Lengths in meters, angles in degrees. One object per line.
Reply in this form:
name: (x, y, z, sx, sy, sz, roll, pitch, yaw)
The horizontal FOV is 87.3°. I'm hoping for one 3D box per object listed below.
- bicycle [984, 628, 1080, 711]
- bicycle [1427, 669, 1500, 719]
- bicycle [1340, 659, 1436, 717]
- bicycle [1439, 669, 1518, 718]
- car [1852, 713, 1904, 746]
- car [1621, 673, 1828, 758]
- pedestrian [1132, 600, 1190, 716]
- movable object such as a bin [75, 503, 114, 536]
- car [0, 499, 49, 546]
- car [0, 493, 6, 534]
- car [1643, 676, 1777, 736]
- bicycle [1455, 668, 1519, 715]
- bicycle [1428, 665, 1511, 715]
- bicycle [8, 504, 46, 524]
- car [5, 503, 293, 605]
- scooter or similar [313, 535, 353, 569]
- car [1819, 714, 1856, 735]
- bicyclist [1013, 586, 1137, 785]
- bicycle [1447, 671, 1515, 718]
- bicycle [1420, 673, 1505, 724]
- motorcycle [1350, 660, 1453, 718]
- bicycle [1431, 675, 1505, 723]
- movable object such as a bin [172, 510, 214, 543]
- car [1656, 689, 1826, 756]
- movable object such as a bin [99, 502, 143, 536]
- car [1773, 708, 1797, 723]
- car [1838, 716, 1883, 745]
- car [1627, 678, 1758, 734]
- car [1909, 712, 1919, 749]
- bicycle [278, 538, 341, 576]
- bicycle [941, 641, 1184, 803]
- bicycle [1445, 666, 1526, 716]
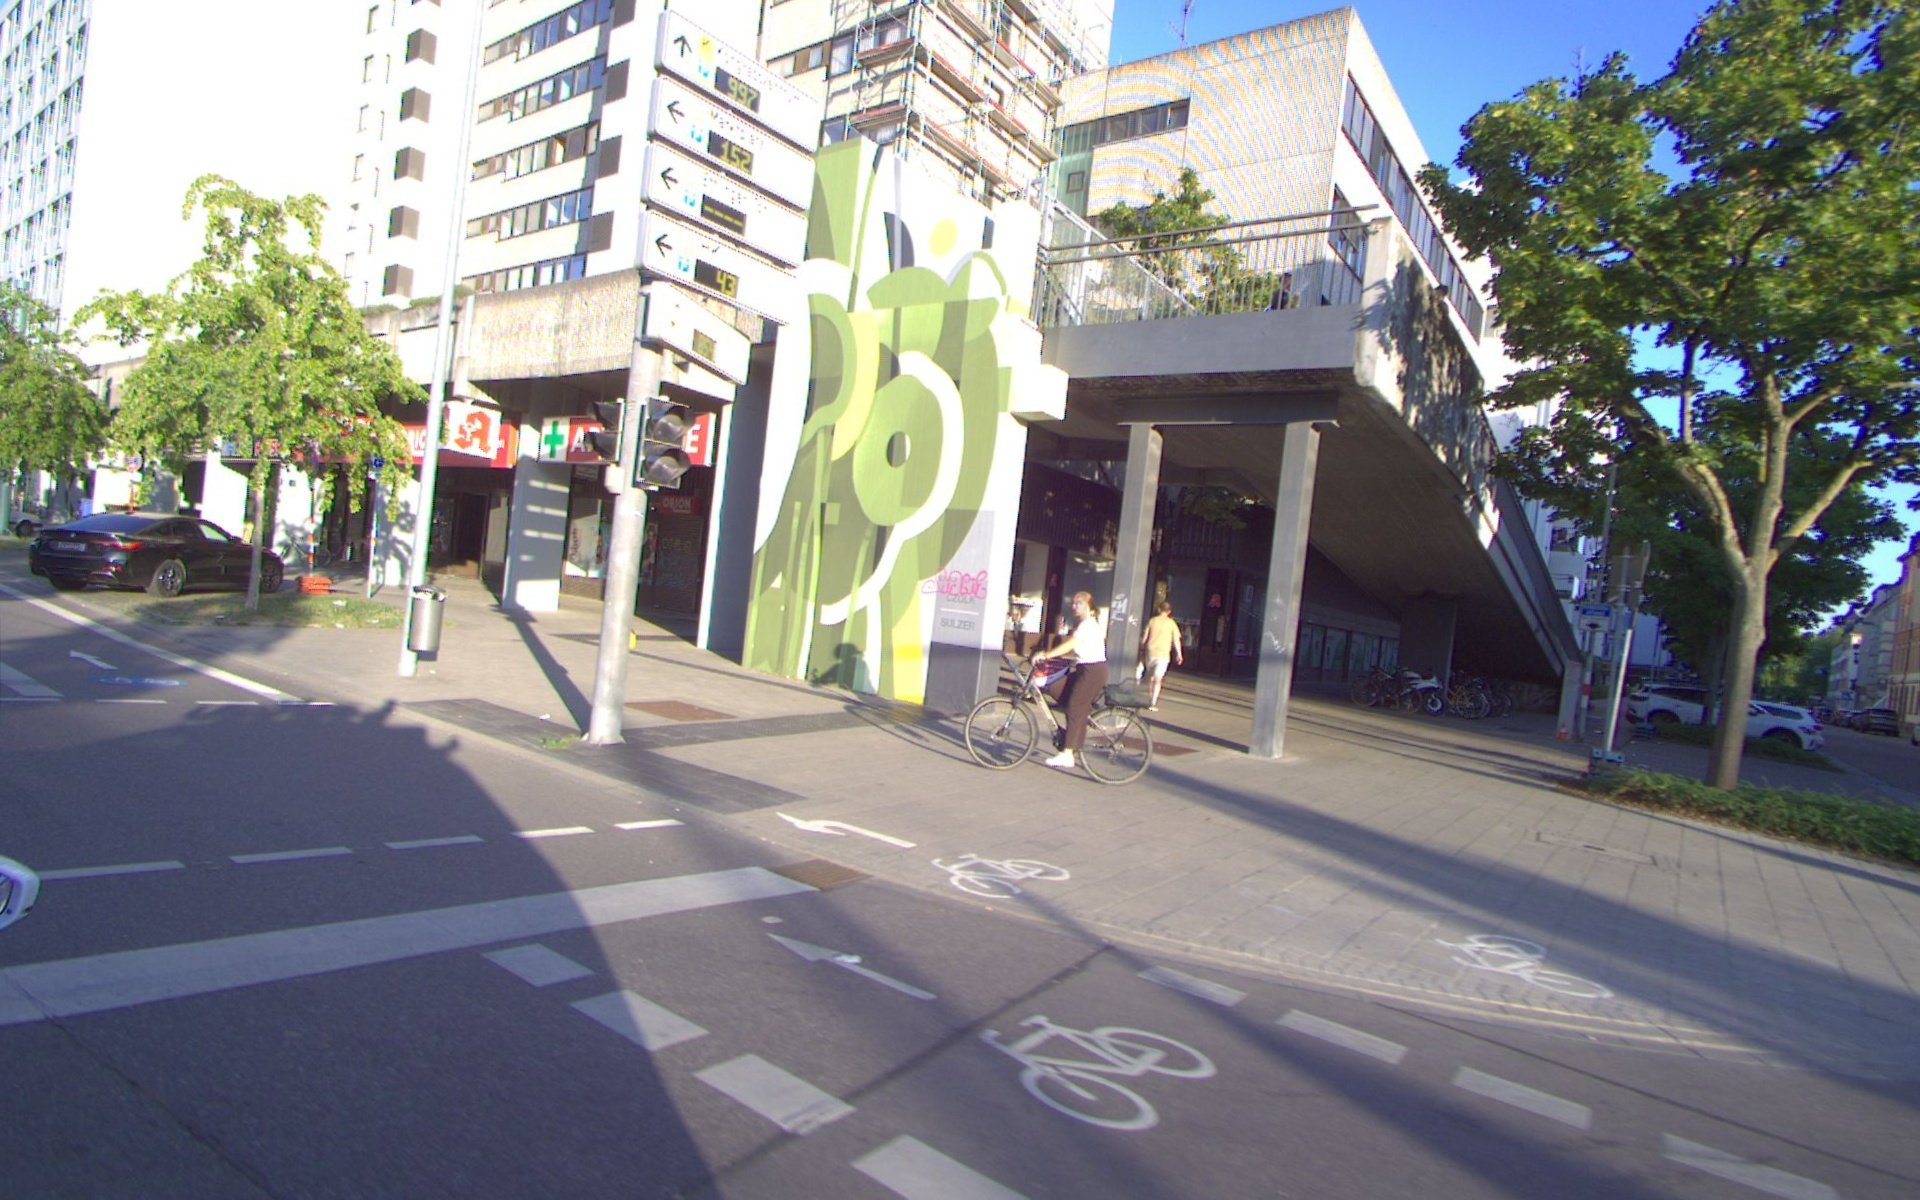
bicycle: (1.100, 1.044, 15.273, 1.311, 1.061, 0.458, 8, 2, 7)
bicycle: (13.167, 2.447, 26.322, 1.542, 1.051, 0.483, 8, 2, 33)
bicycle: (10.214, 2.081, 24.024, 1.891, 1.071, 0.780, 8, 2, 32)
bicycle: (14.274, 2.569, 27.723, 1.801, 1.051, 0.483, 8, 2, 33)
car: (63.785, 9.019, 69.966, 2.003, 1.849, 4.769, 7, -2, 37)
car: (22.217, 3.339, 29.453, 4.555, 1.712, 1.749, 7, -2, 37)
pedestrian: (3.290, 0.926, 16.425, 0.685, 1.774, 0.724, 8, 4, 13)
movable object such as a bin: (-40.867, -3.796, 47.495, 1.263, 1.347, 1.104, 7, 3, 36)
car: (-31.892, -2.586, 32.241, 1.719, 1.435, 3.987, 5, 1, -1)
car: (-37.063, -3.285, 35.767, 1.904, 1.528, 4.664, 5, 1, -2)
car: (30.893, 4.368, 41.582, 4.217, 1.775, 1.638, 7, -2, 36)
bicycle: (15.955, 2.762, 30.490, 1.539, 1.143, 0.649, 8, 2, 24)
bicycle: (15.176, 2.659, 30.026, 2.045, 1.143, 0.649, 8, 2, 24)
bicycle: (-50.851, -4.681, 54.830, 0.450, 0.902, 1.421, 7, 1, 36)
car: (-14.827, -0.809, 18.797, 1.781, 1.472, 4.600, 6, 1, -4)
scooter or similar: (-25.374, -1.953, 40.692, 1.798, 1.174, 0.402, 7, -1, 27)
car: (79.650, 11.344, 91.384, 2.003, 1.540, 4.389, 7, -2, 37)
bicyclist: (1.103, 0.780, 9.570, 0.943, 1.714, 0.820, 6, 2, 9)
bicycle: (14.689, 2.656, 28.404, 1.539, 1.051, 0.649, 8, 2, 24)
bicycle: (12.524, 2.439, 25.096, 1.737, 0.963, 0.698, 8, 2, 32)
motorcycle: (10.823, 2.151, 24.678, 2.118, 1.071, 0.785, 8, 2, 32)
bicycle: (12.925, 2.506, 25.607, 1.542, 0.963, 0.483, 8, 2, 33)
movable object such as a bin: (-35.944, -3.428, 47.154, 1.107, 1.330, 1.181, 7, 1, 35)
car: (25.477, 3.982, 33.016, 4.112, 1.477, 1.751, 7, -2, 33)
movable object such as a bin: (-37.374, -3.591, 44.817, 1.247, 1.341, 1.180, 7, 3, 35)
car: (105.155, 14.733, 128.250, 2.003, 1.540, 4.389, 7, -2, 37)
car: (69.530, 10.086, 77.745, 2.003, 1.849, 4.769, 7, -2, 37)
car: (28.733, 4.149, 39.590, 3.968, 1.553, 1.638, 7, -2, 36)
car: (51.132, 6.902, 52.188, 2.003, 1.849, 4.769, 7, -2, 37)
bicycle: (-20.511, -1.340, 31.741, 0.426, 1.062, 1.571, 7, 2, 35)
bicycle: (0.977, 1.118, 9.595, 2.107, 1.188, 0.820, 6, 1, 9)
bicycle: (15.243, 2.630, 29.233, 1.914, 1.143, 0.649, 8, 2, 24)
